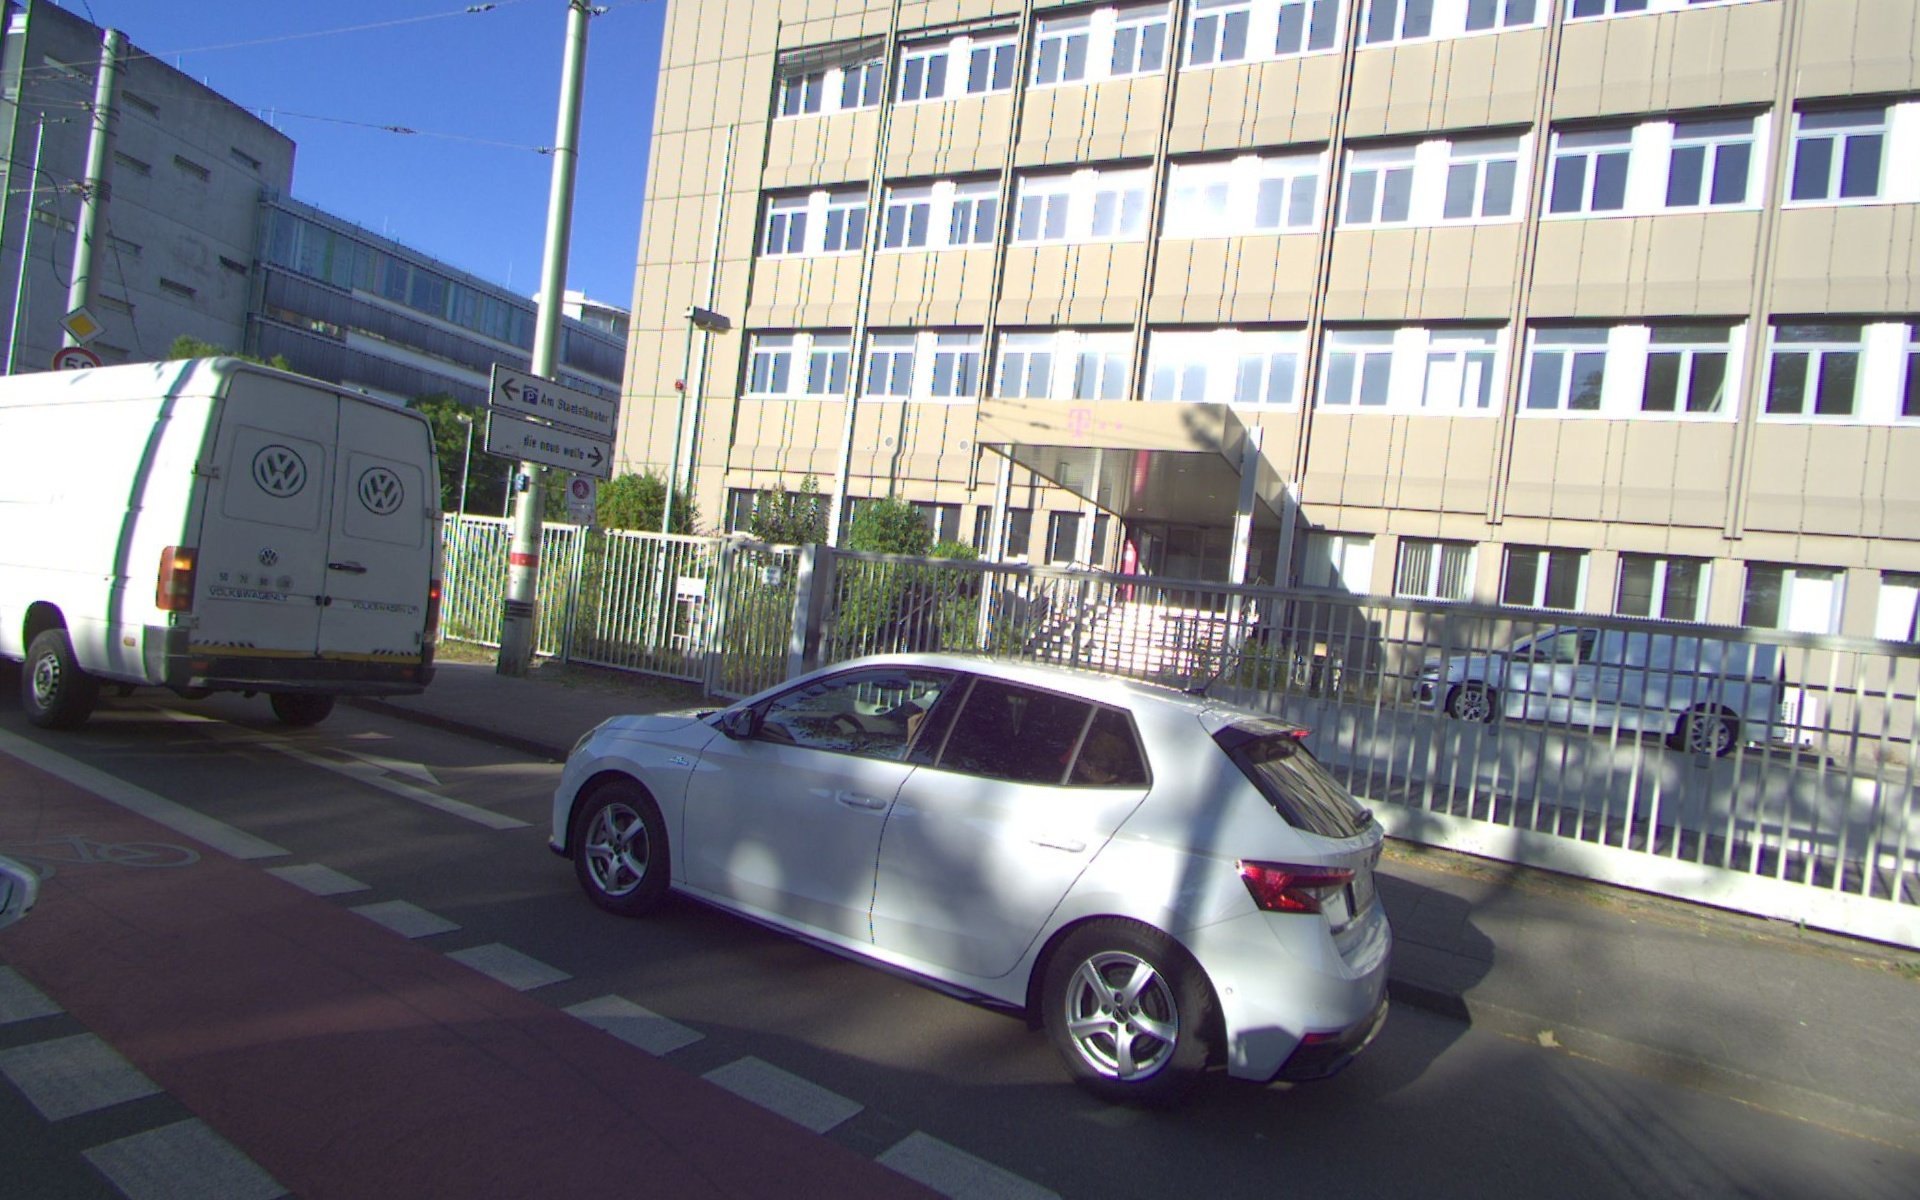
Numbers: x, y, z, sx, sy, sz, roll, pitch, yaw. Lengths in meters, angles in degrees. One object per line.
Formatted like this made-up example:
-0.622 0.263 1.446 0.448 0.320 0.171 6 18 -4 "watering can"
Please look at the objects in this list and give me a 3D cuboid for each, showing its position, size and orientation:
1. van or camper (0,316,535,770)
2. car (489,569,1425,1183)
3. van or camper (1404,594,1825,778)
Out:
-6.875 -0.548 8.490 6.235 2.764 2.277 7 -3 27 "van or camper"
-0.082 0.895 4.772 3.913 1.518 1.807 7 -3 29 "car"
9.541 1.199 15.283 4.910 1.932 1.985 7 0 25 "van or camper"
